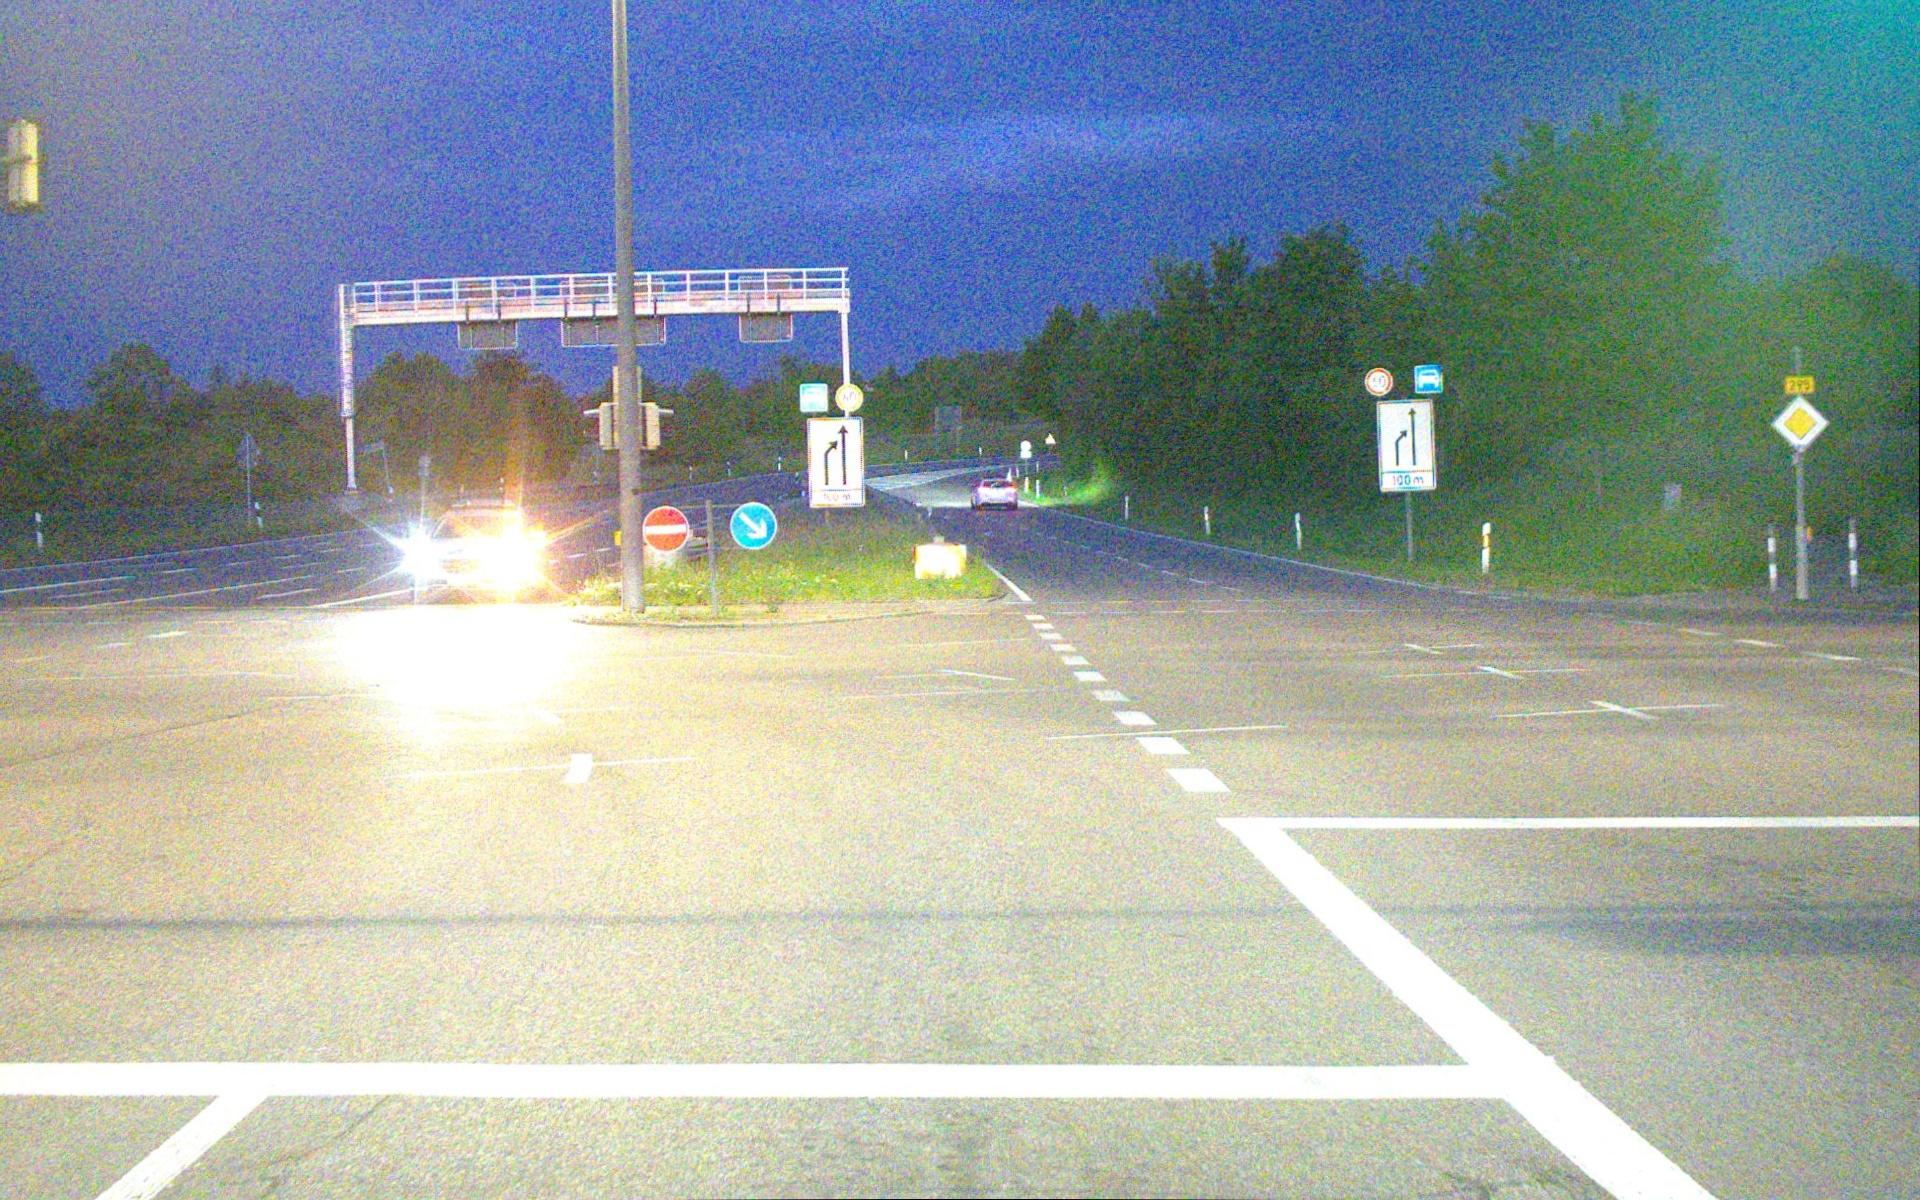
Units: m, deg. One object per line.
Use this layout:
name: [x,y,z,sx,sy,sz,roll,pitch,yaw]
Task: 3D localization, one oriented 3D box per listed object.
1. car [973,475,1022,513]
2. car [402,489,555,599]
car: [1.641,-4.572,148.902,2.007,1.605,3.845,0,2,2]
car: [-7.650,-0.932,54.931,1.993,1.692,4.001,0,2,-2]
